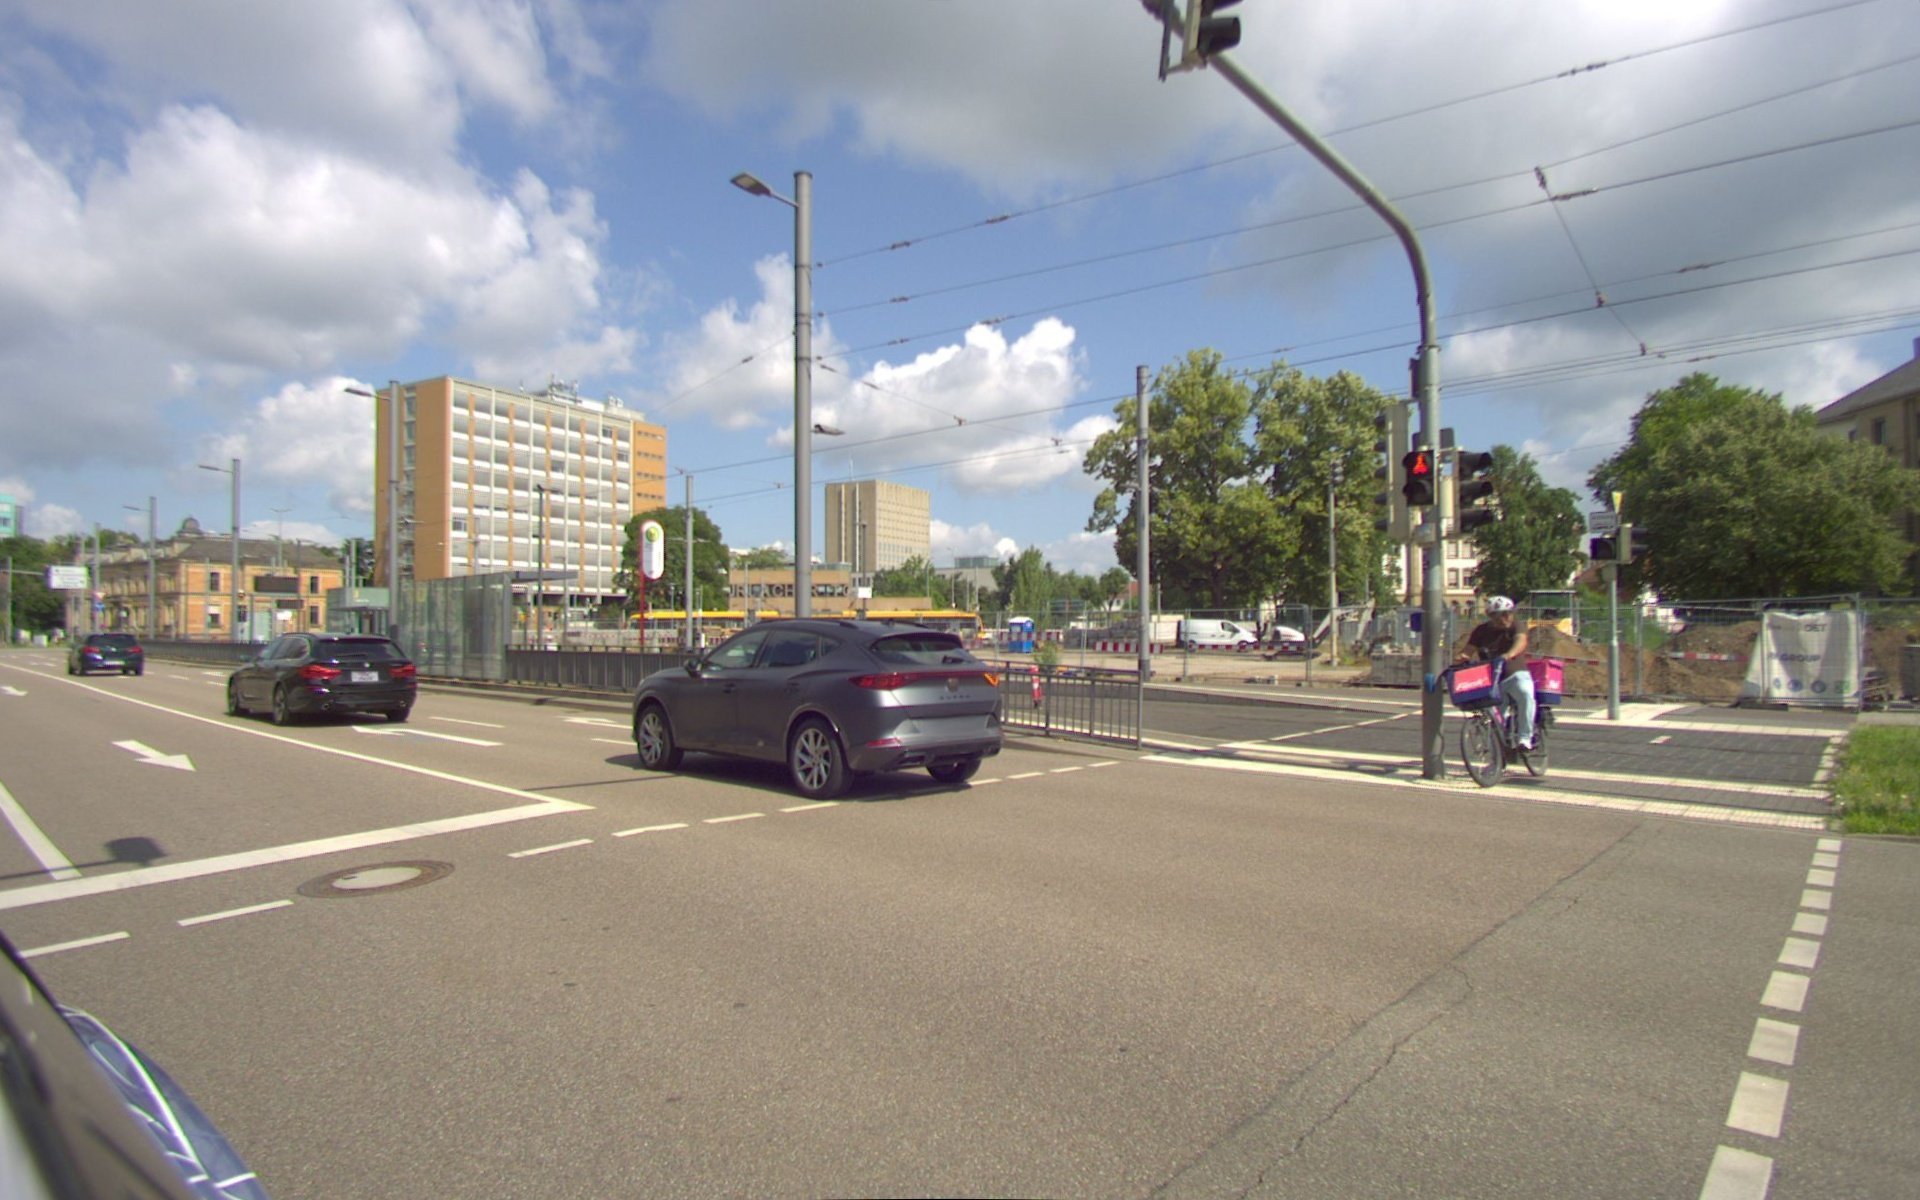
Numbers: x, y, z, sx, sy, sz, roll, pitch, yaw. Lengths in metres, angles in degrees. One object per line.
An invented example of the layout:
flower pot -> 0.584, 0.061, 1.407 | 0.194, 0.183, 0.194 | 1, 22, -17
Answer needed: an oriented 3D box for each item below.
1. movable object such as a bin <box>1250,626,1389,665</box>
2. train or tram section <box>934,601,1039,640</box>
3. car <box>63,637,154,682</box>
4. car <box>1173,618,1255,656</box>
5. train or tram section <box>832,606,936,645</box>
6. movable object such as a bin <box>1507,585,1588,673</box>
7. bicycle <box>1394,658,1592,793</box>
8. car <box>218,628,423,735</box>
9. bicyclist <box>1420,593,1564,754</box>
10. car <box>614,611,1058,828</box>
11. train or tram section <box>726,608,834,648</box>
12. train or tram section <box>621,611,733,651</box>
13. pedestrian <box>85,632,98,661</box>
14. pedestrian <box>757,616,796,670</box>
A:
movable object such as a bin -> 14.855, 1.880, 41.922 | 5.134, 1.514, 1.979 | -2, -2, 30
train or tram section -> 2.648, 2.145, 104.734 | 10.450, 3.507, 3.326 | -2, -3, -3
car -> -28.808, 1.973, 34.210 | 3.741, 1.428, 1.895 | -2, -3, 43
car -> 15.380, 2.264, 61.557 | 4.594, 2.154, 1.934 | -2, -3, 10
train or tram section -> -7.805, 2.643, 104.152 | 10.450, 3.507, 3.326 | -2, -3, -3
movable object such as a bin -> 21.129, 1.050, 36.309 | 1.996, 2.934, 5.092 | -2, -3, 35
bicycle -> 5.212, 1.157, 9.859 | 1.992, 1.135, 0.933 | 1, -3, -37
car -> -10.808, 1.268, 16.971 | 4.560, 1.564, 1.797 | -2, -3, 43
bicyclist -> 5.133, 0.679, 9.767 | 1.075, 1.447, 0.826 | 1, -3, -37
car -> -1.337, 0.937, 9.443 | 4.295, 1.564, 1.779 | -2, -3, 43
train or tram section -> -18.305, 2.897, 103.566 | 10.450, 3.507, 3.326 | -2, -3, -3
train or tram section -> -28.648, 3.189, 102.917 | 10.450, 3.507, 3.326 | -2, -3, -3
pedestrian -> -62.065, 3.315, 72.327 | 0.514, 2.029, 0.498 | -2, -3, 31
pedestrian -> -7.078, 1.658, 38.999 | 1.053, 2.029, 1.051 | 2, -3, -44
